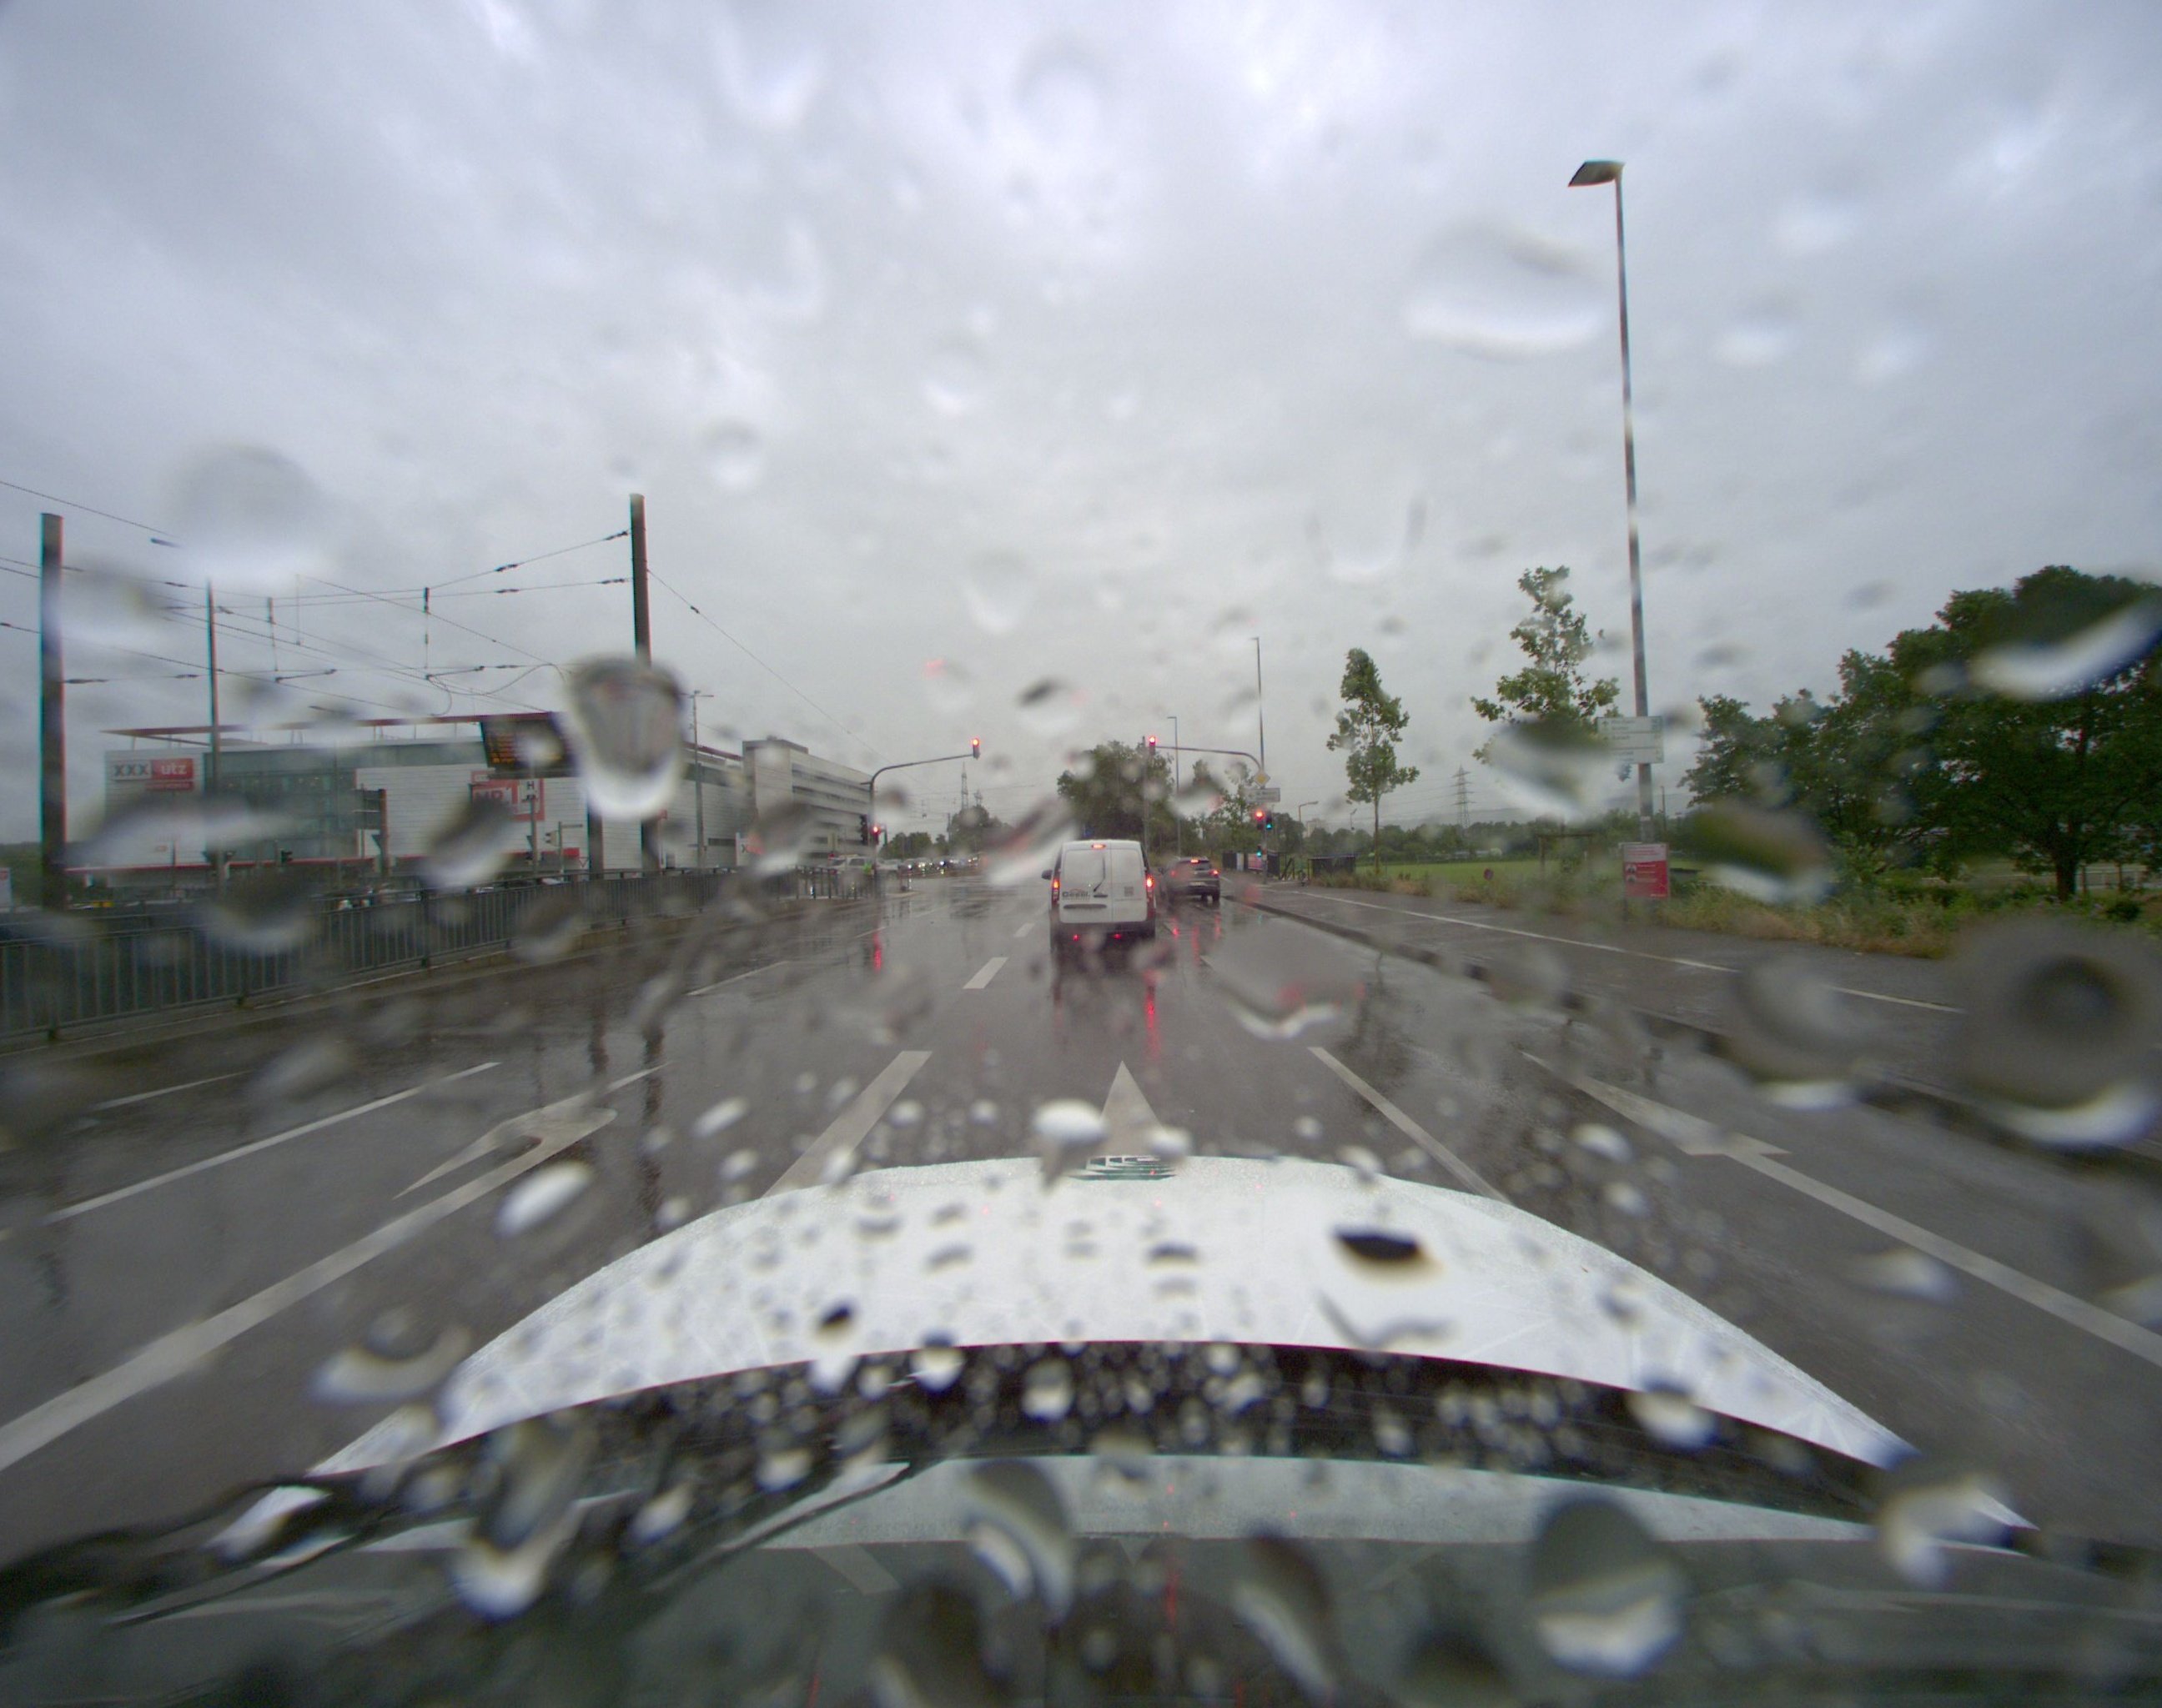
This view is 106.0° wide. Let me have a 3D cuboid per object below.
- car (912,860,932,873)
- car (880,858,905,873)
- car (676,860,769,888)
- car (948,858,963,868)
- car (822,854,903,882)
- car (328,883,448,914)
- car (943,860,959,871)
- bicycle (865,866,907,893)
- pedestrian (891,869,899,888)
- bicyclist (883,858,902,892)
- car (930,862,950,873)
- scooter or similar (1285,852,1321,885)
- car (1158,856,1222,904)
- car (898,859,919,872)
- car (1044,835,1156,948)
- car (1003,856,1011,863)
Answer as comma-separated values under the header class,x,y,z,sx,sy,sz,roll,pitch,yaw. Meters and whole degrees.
class,x,y,z,sx,sy,sz,roll,pitch,yaw
car,-18.835,1.495,96.607,1.554,1.426,3.569,0,-1,1
car,-19.191,1.200,83.041,1.554,1.426,3.569,0,-1,1
car,-18.694,1.054,42.639,4.195,1.451,1.707,1,-2,-17
car,-18.468,1.394,119.635,1.554,1.426,3.569,0,-1,1
car,-13.504,0.914,50.428,4.482,1.662,1.933,1,-2,-35
car,-35.313,2.265,41.581,4.259,1.502,1.815,1,-1,-10
car,-17.818,1.598,111.888,1.554,1.426,3.569,0,-1,1
bicycle,-8.619,1.105,36.019,1.768,1.137,0.514,0,-1,-41
pedestrian,-8.682,1.143,38.036,0.314,0.897,0.380,0,0,-1
bicyclist,-8.408,0.937,36.296,0.608,1.491,0.593,0,-1,-39
car,-17.992,1.736,103.906,1.704,1.426,3.809,0,-1,1
scooter or similar,8.706,0.542,32.043,0.687,1.211,3.022,-2,0,3
car,3.642,0.831,27.811,1.678,1.508,3.920,0,-1,1
car,-19.062,1.326,90.122,1.554,1.426,3.569,0,-1,1
car,0.233,0.578,15.006,1.750,1.750,4.166,-1,0,-2
car,-16.681,1.294,183.802,1.554,1.426,3.569,0,-1,1
